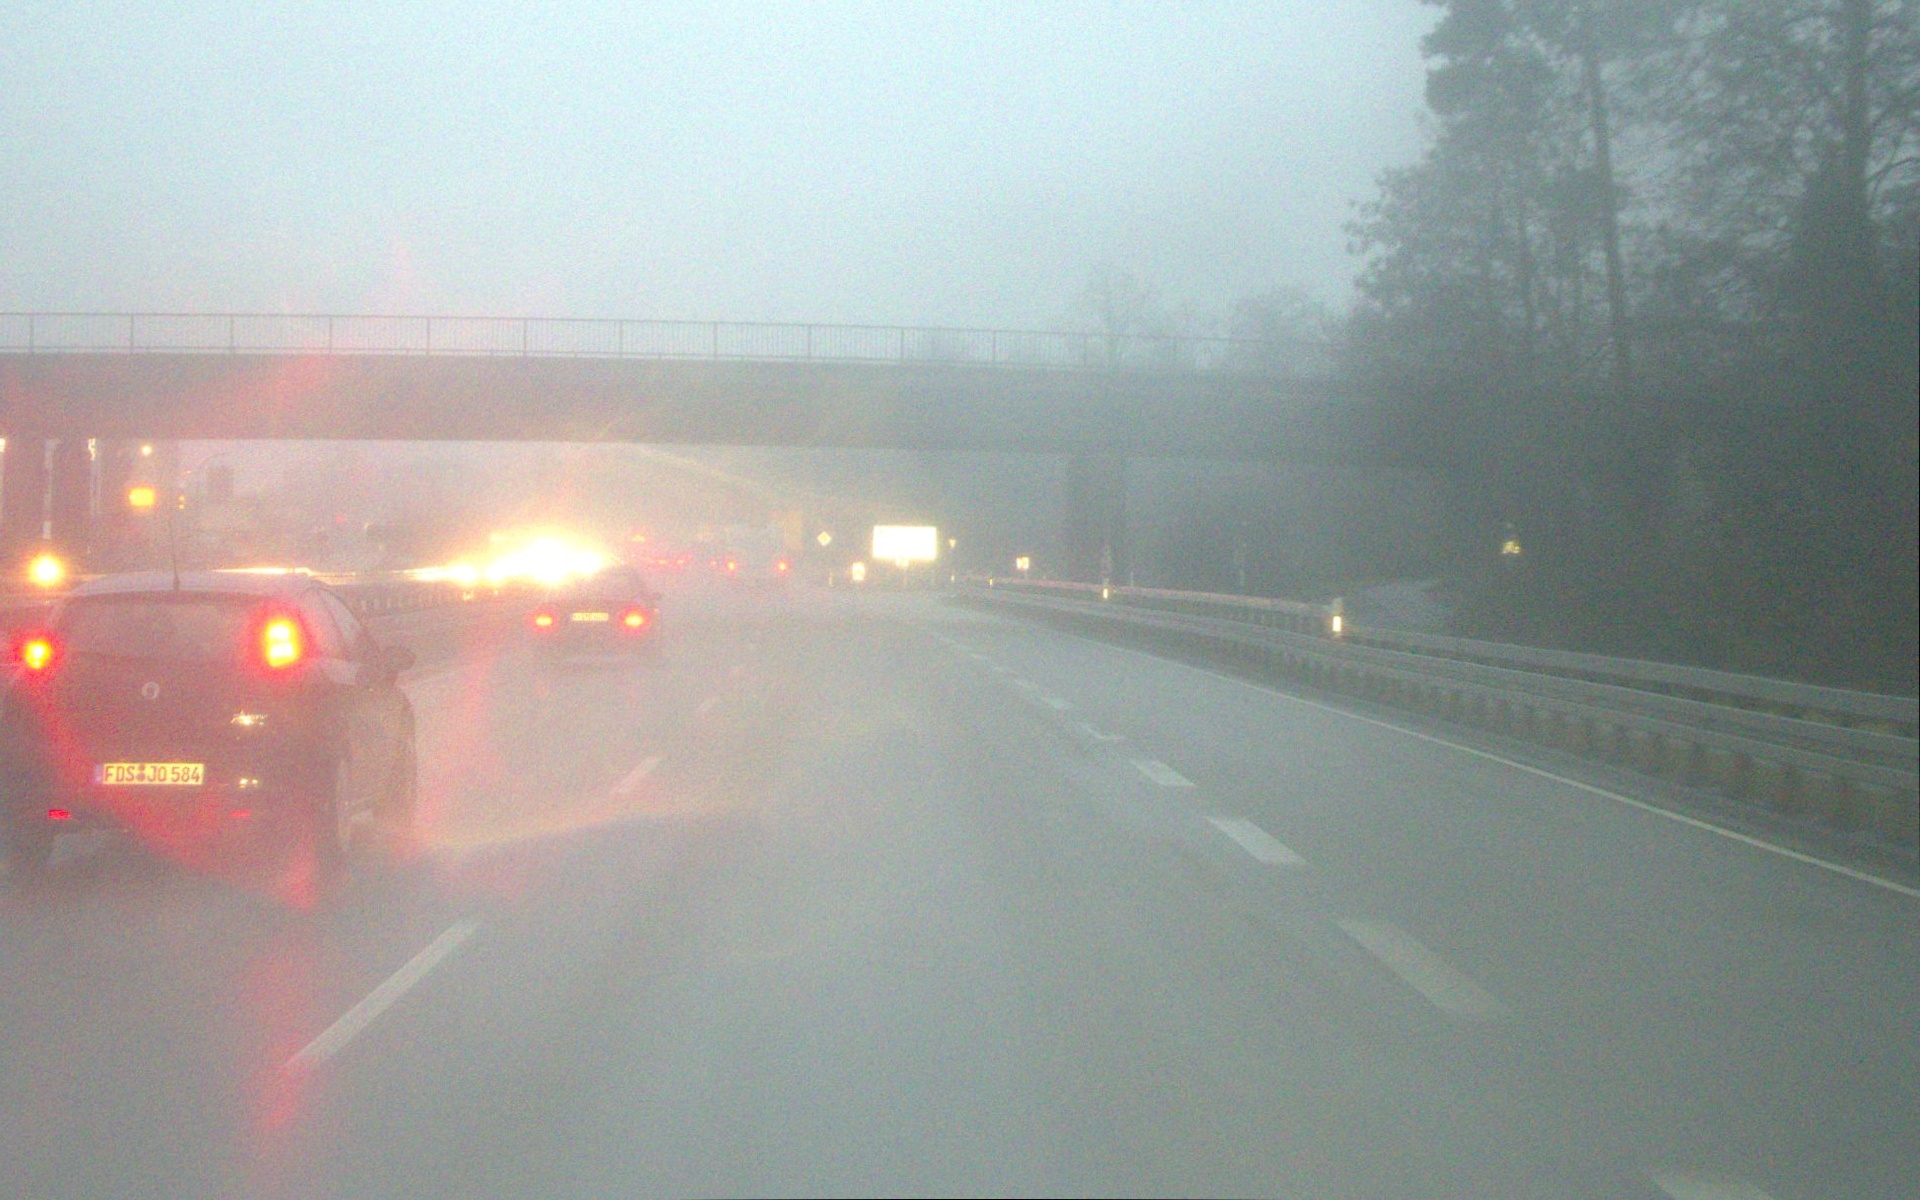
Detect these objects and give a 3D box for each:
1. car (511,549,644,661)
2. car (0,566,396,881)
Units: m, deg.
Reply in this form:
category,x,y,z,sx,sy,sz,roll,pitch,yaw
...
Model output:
category,x,y,z,sx,sy,sz,roll,pitch,yaw
car,-5.524,0.034,50.040,1.775,1.529,4.703,-1,1,-5
car,-3.980,0.586,18.395,1.527,1.411,3.479,3,1,-4
